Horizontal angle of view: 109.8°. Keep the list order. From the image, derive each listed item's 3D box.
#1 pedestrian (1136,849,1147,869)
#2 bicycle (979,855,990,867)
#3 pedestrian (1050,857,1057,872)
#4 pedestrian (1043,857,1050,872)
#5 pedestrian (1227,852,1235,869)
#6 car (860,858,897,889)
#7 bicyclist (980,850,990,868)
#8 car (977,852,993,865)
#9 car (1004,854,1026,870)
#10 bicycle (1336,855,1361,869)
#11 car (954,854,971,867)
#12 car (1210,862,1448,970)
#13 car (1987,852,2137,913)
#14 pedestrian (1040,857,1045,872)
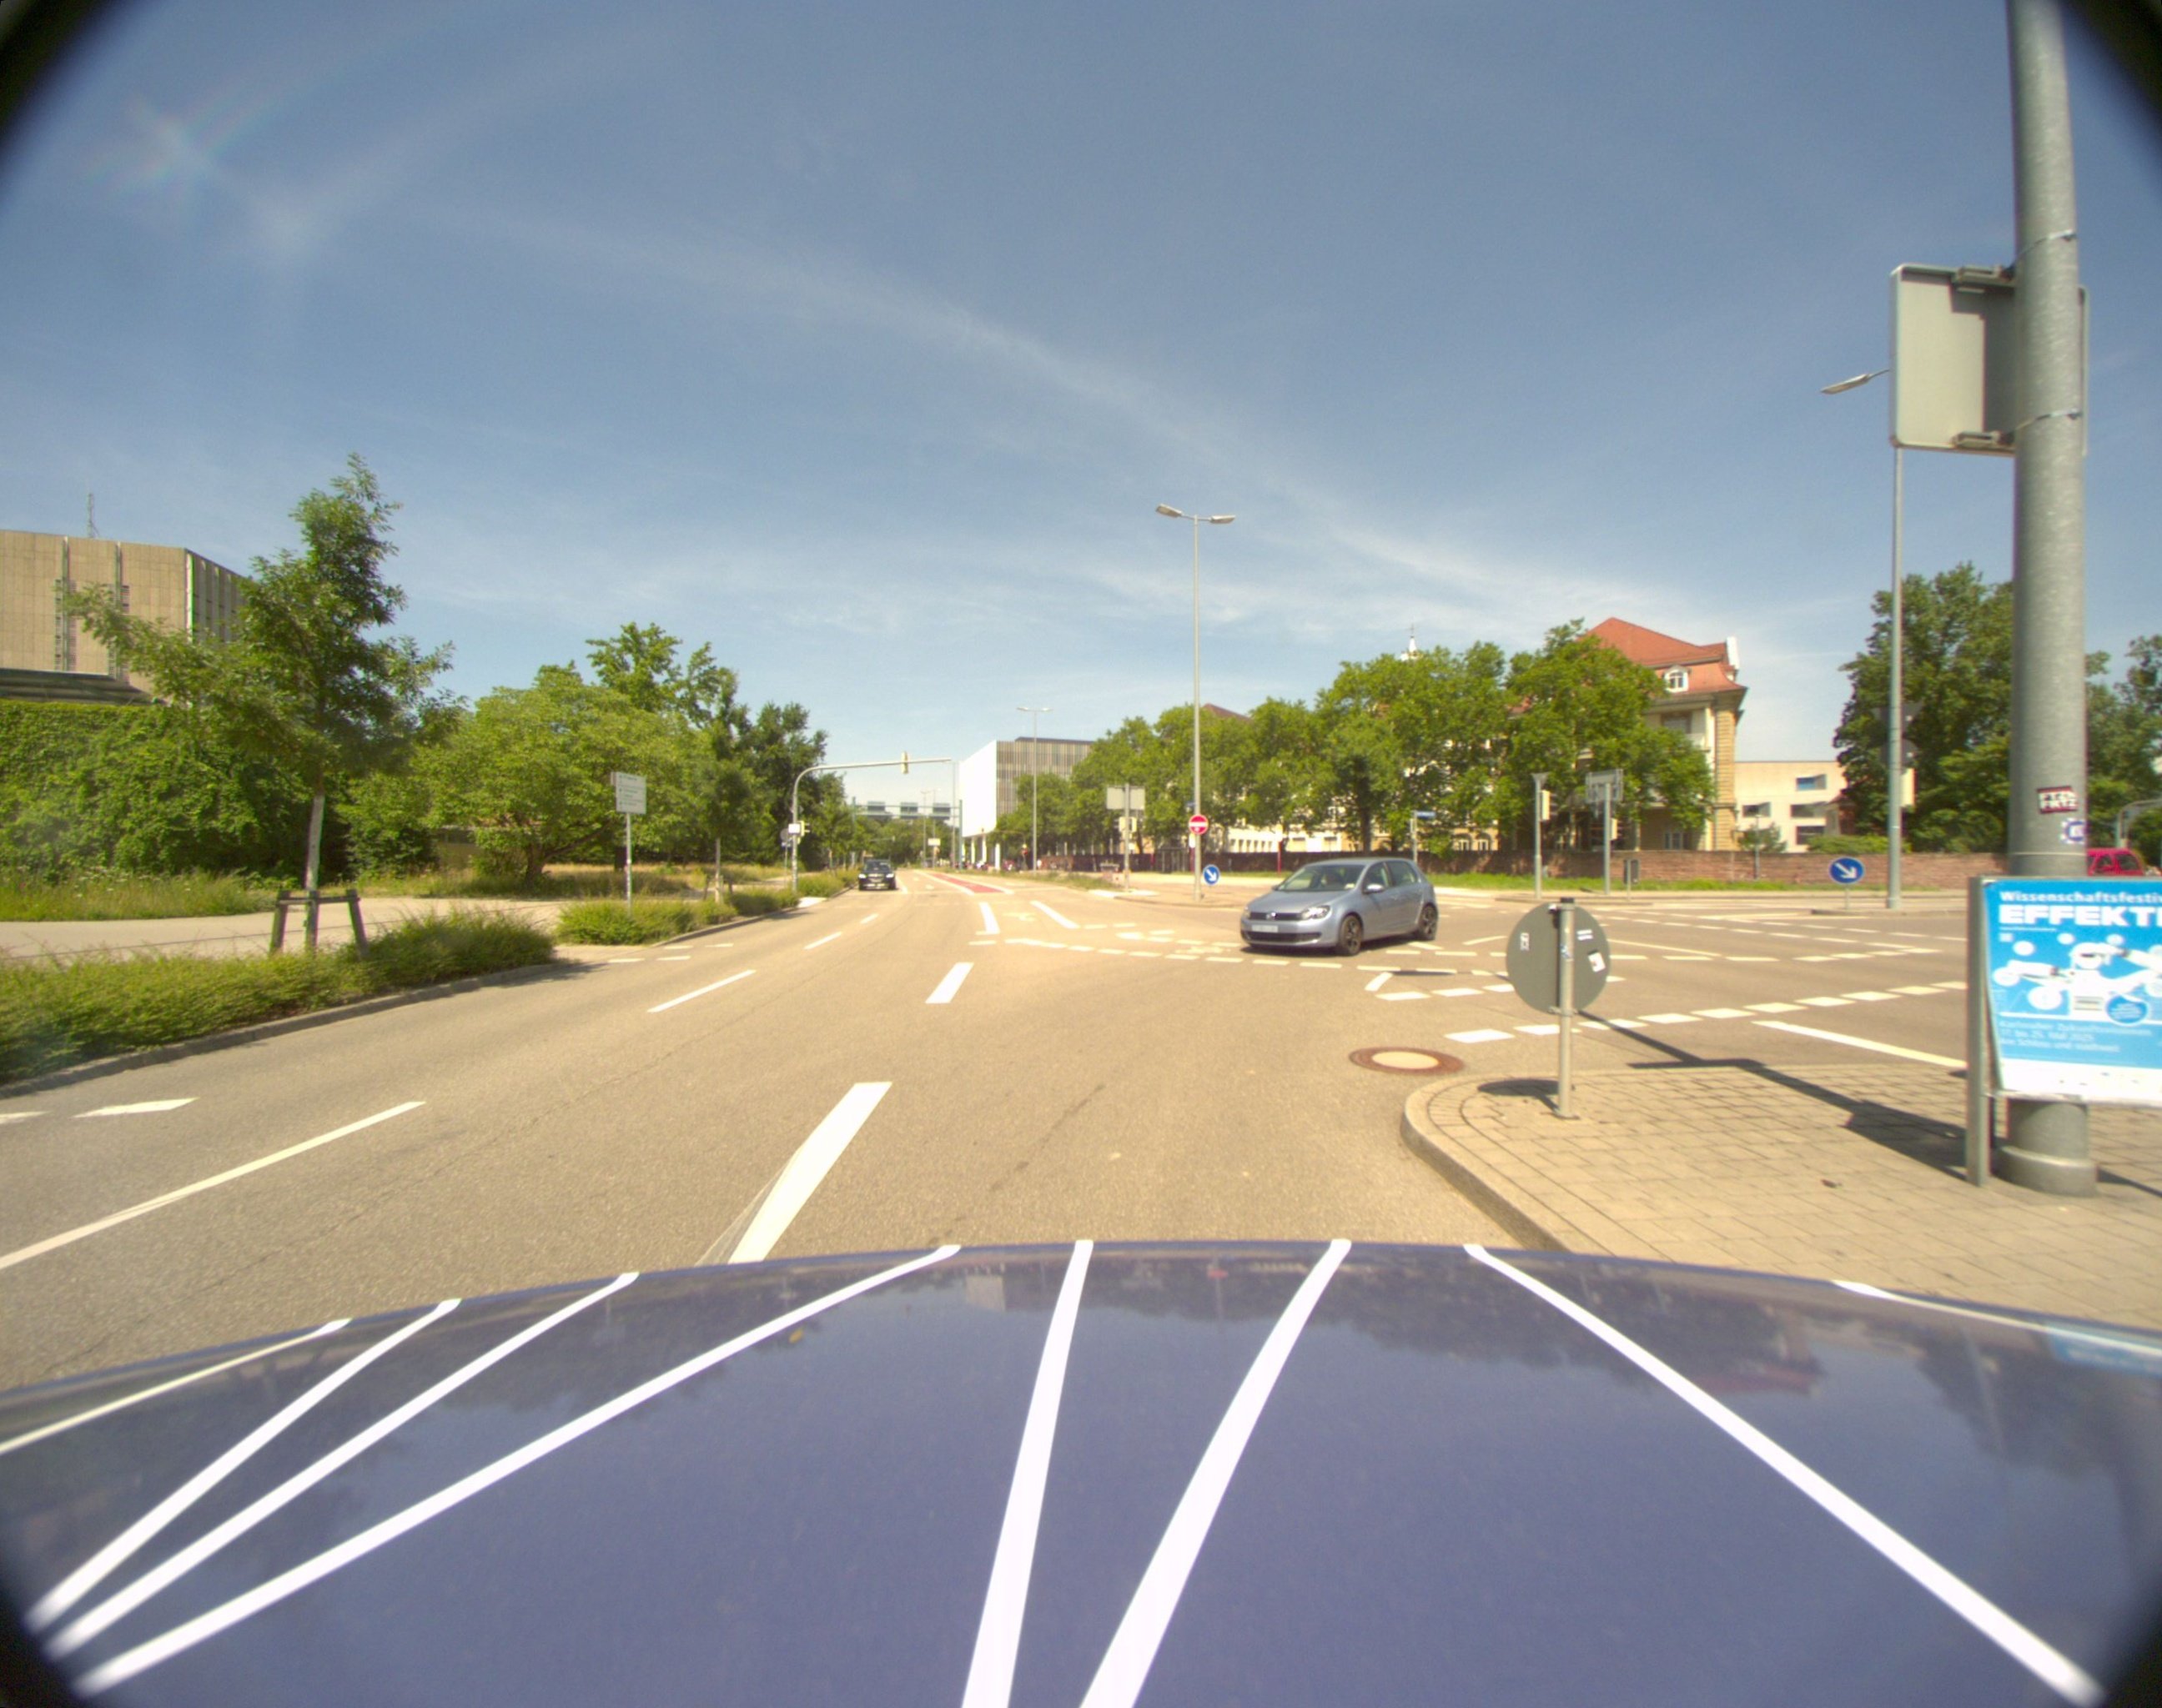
[{"bbox_3d":[7.131,0.625,89.426,0.851,2.276,1.073,0,-2,-30],"label":"pedestrian"},{"bbox_3d":[-10.385,0.748,81.834,0.522,1.229,2.188,0,-2,-25],"label":"bicycle"},{"bbox_3d":[-3.892,1.491,107.613,0.790,2.001,0.839,0,-2,-17],"label":"pedestrian"},{"bbox_3d":[-4.890,1.492,107.392,0.790,2.001,0.963,0,-2,-17],"label":"pedestrian"},{"bbox_3d":[15.246,0.692,77.110,0.590,1.710,0.525,1,-2,-42],"label":"pedestrian"},{"bbox_3d":[-11.148,1.113,42.092,1.709,1.576,4.553,0,-2,-11],"label":"car"},{"bbox_3d":[-10.375,0.505,81.773,0.710,1.875,1.136,0,-2,-26],"label":"bicyclist"},{"bbox_3d":[-13.485,0.699,106.387,1.782,1.673,3.996,0,-2,-14],"label":"car"},{"bbox_3d":[-8.648,1.060,99.037,2.001,2.001,4.209,0,-2,-16],"label":"car"},{"bbox_3d":[23.875,0.742,67.825,2.164,1.175,0.459,-3,-3,45],"label":"bicycle"},{"bbox_3d":[-16.485,0.896,105.517,1.780,1.658,3.995,0,-2,-18],"label":"car"},{"bbox_3d":[4.175,0.884,12.532,4.002,1.406,1.828,-1,1,-39],"label":"car"},{"bbox_3d":[30.435,0.861,23.577,4.284,1.755,1.831,0,-2,-24],"label":"car"},{"bbox_3d":[-5.461,1.483,107.019,0.550,2.001,0.536,0,-2,-16],"label":"pedestrian"}]
